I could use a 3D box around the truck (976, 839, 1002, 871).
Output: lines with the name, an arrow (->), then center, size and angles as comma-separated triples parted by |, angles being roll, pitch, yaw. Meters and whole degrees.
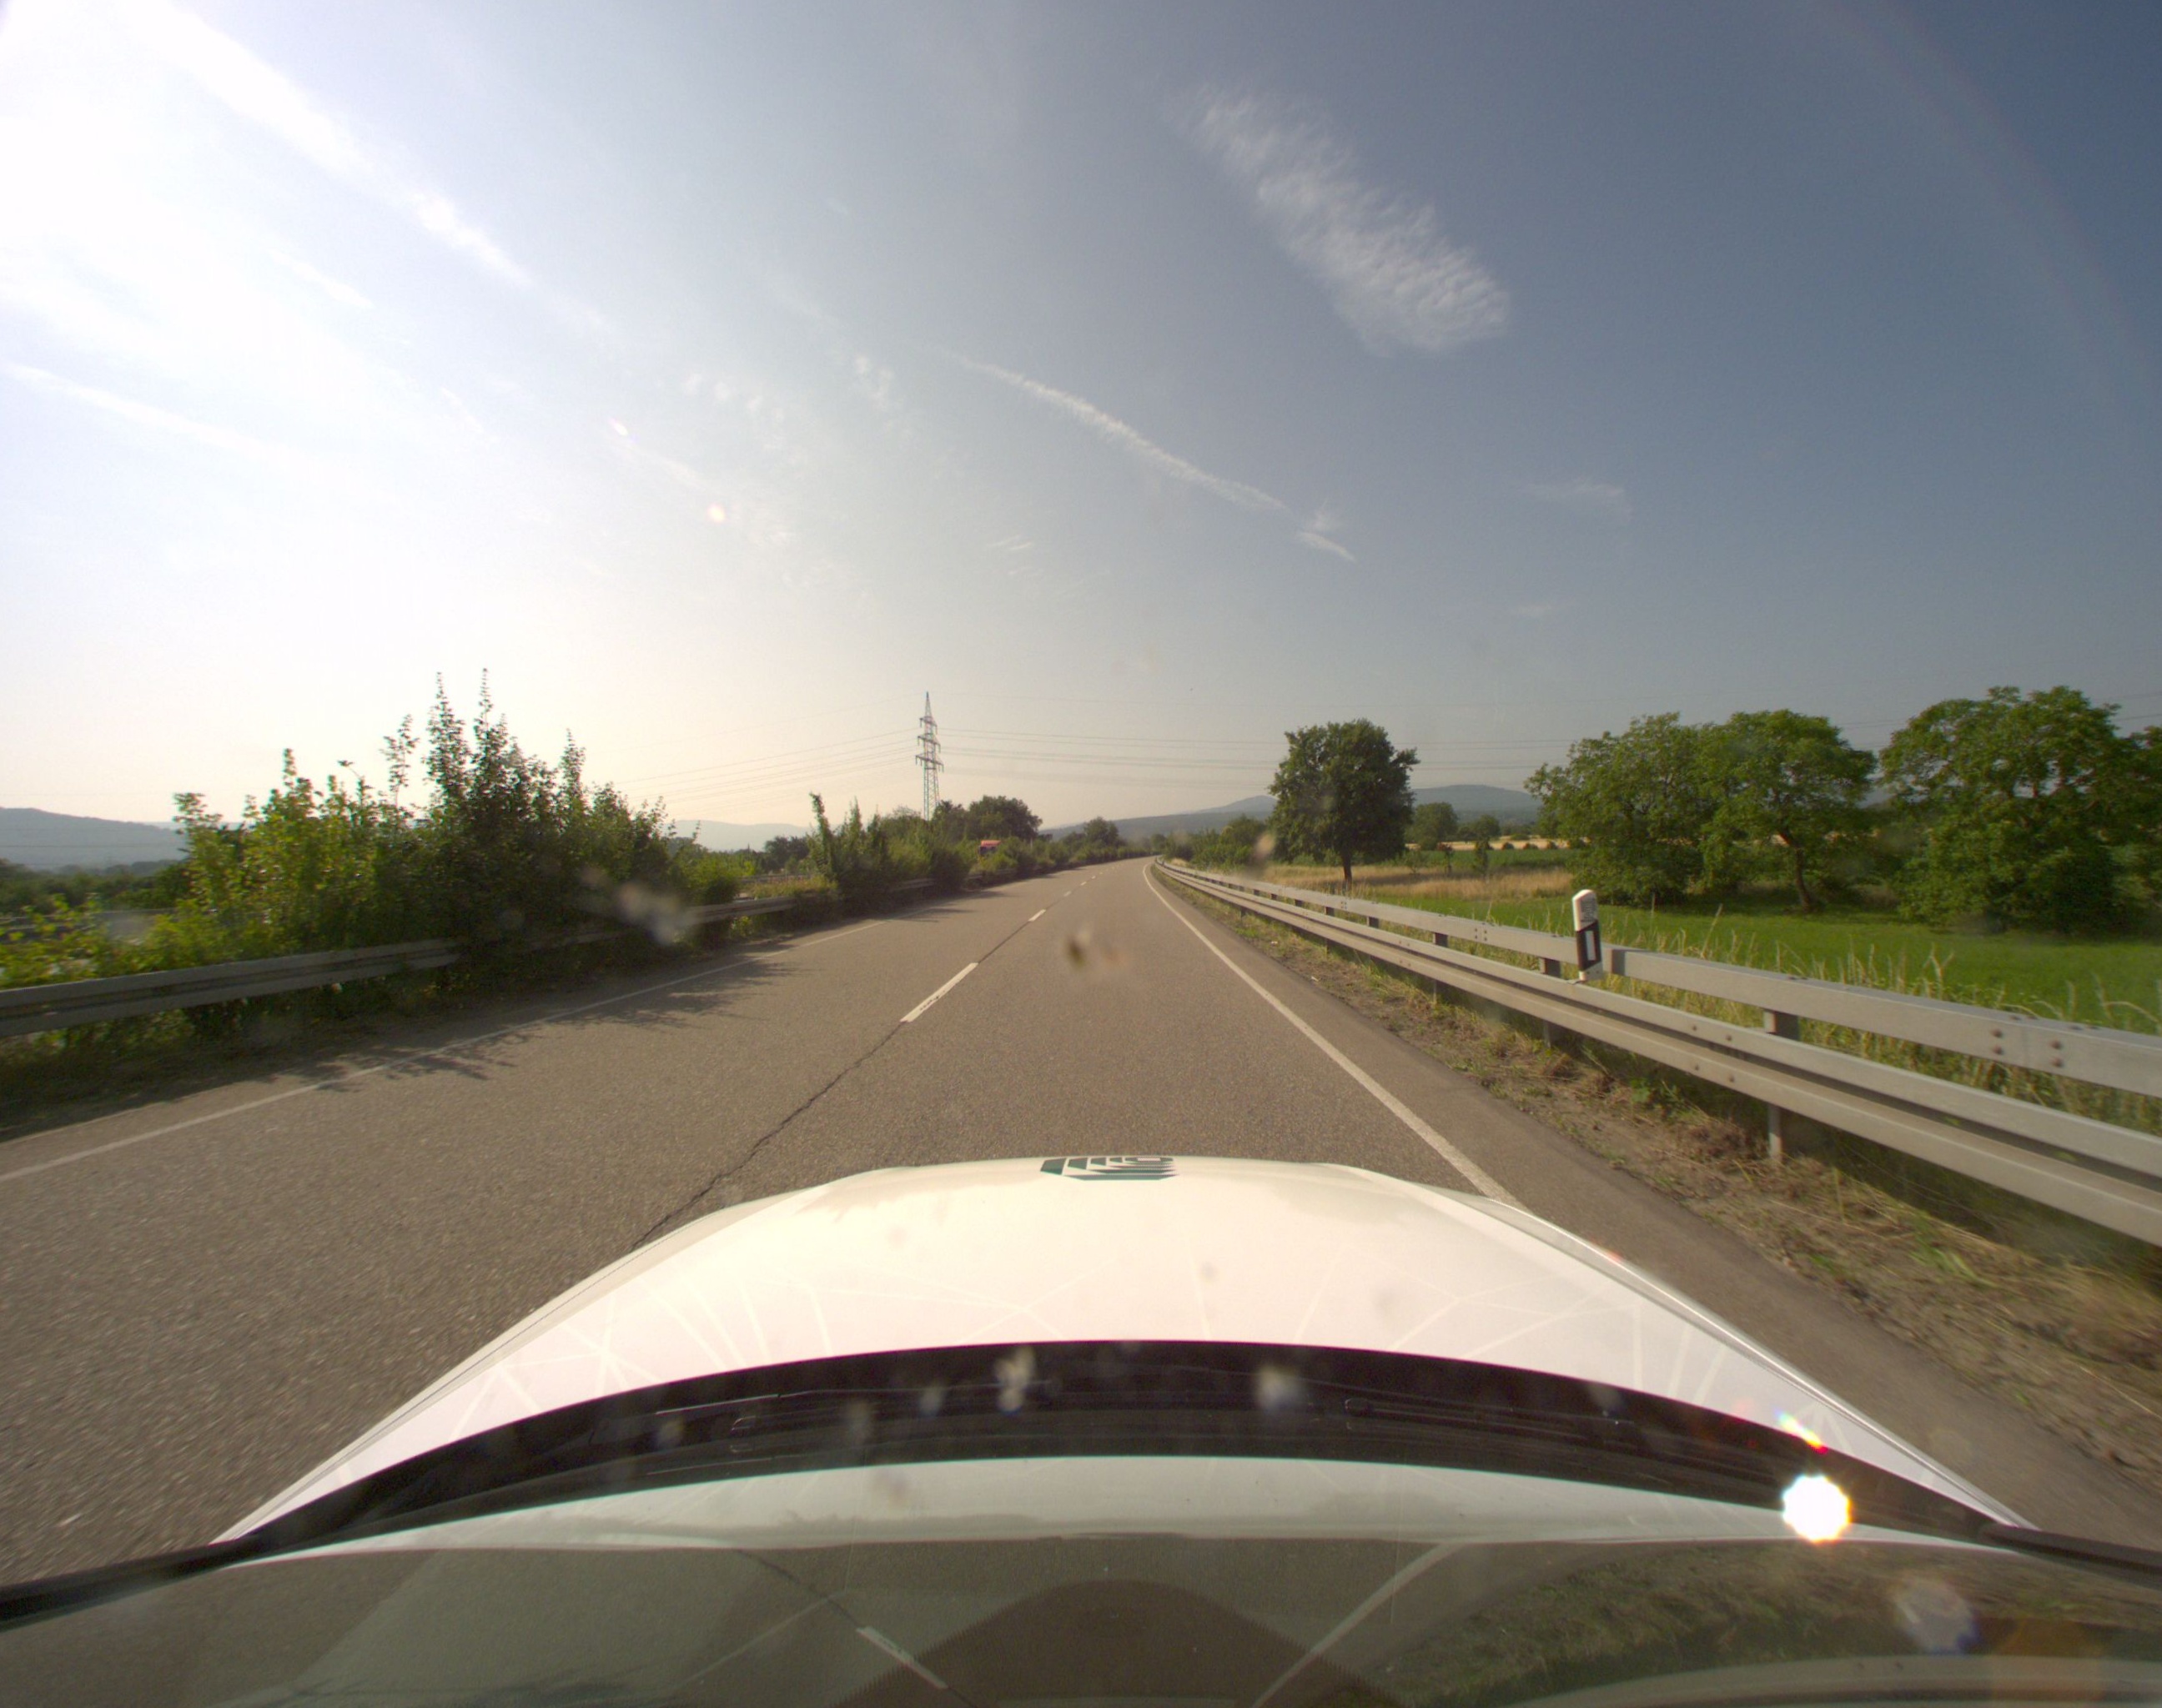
truck -> -10.374, 0.115, 91.956 | 1.985, 3.375, 5.632 | -1, 0, 3
